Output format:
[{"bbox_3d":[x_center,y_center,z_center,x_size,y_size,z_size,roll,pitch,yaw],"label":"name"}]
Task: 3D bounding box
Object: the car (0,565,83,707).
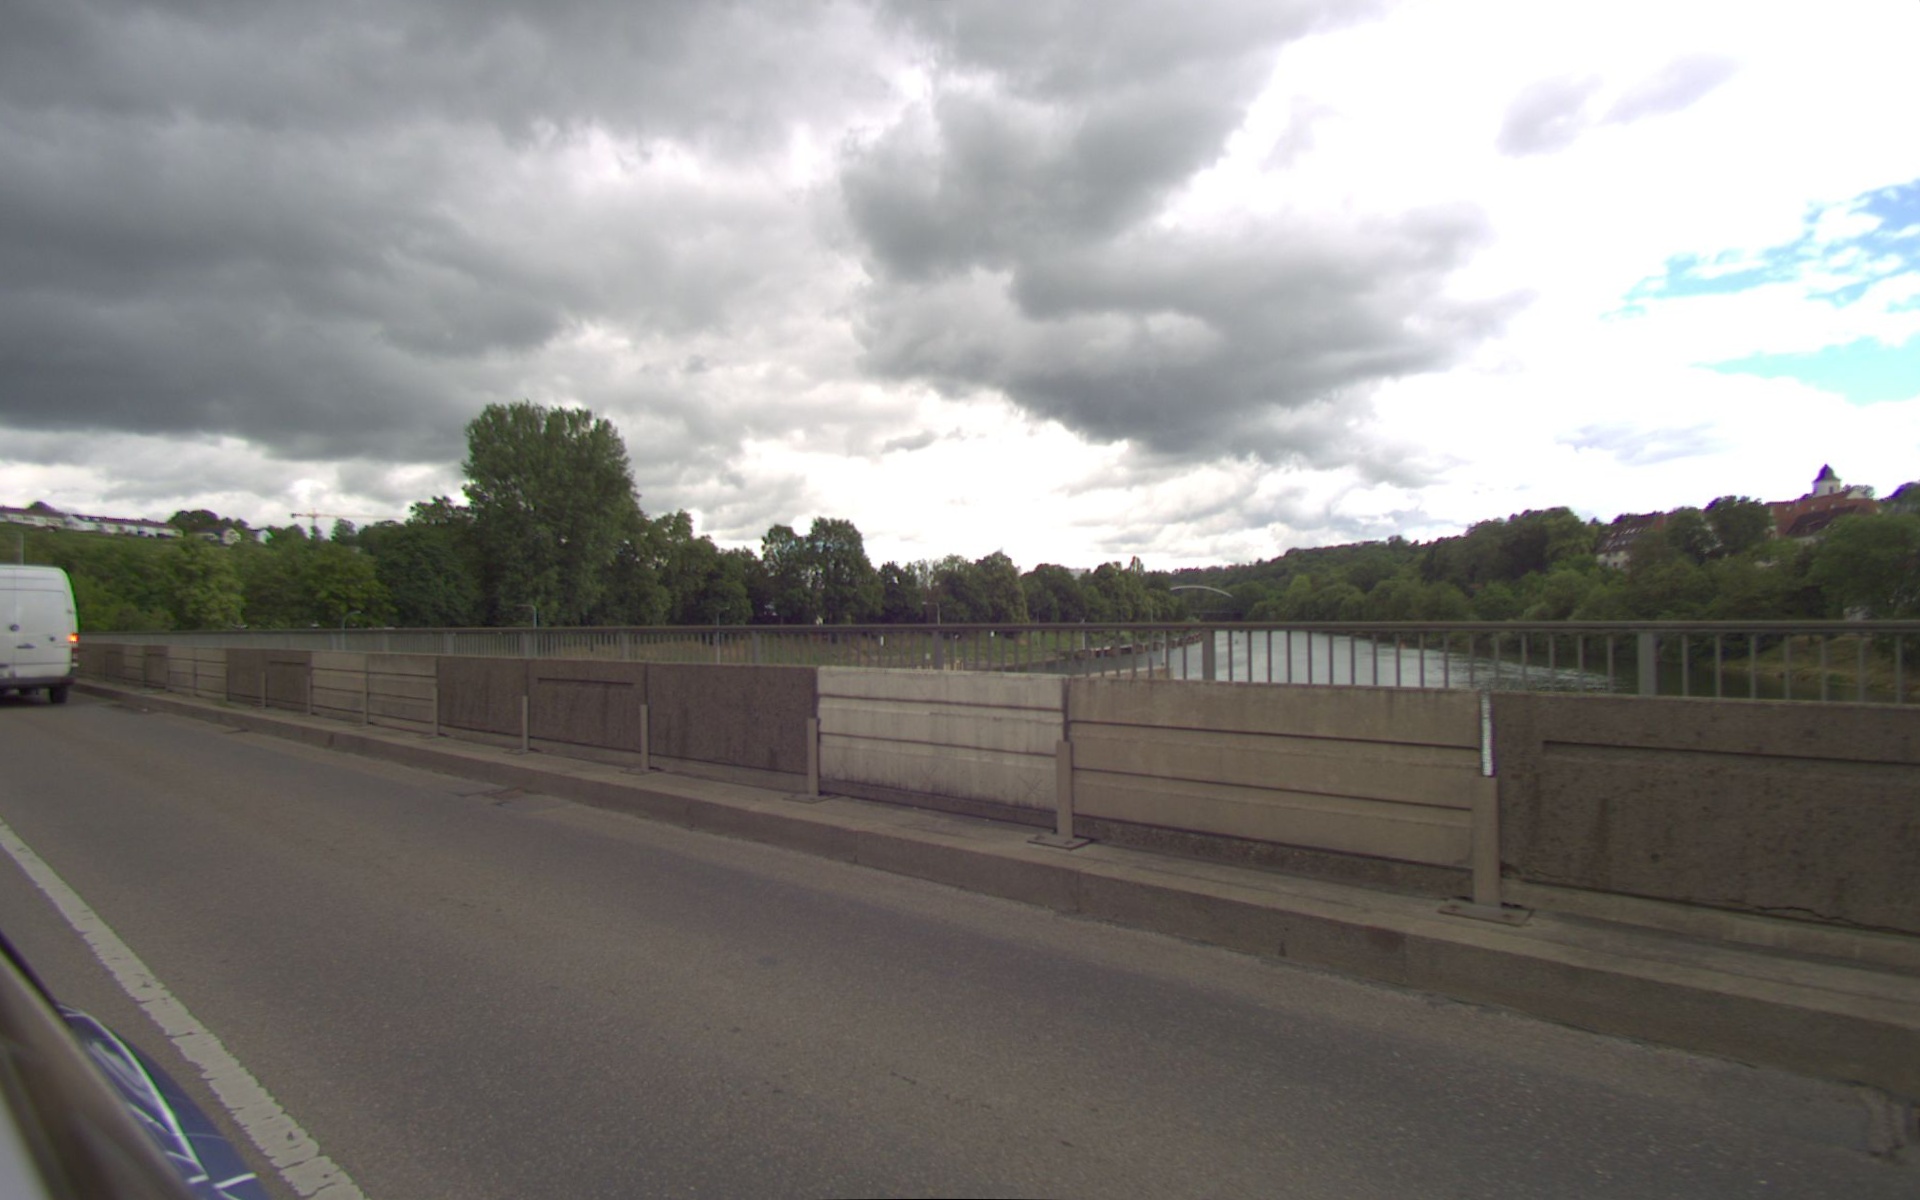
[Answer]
[{"bbox_3d":[-19.932,0.776,20.706,7.003,2.581,2.012,-3,-3,41],"label":"car"}]
